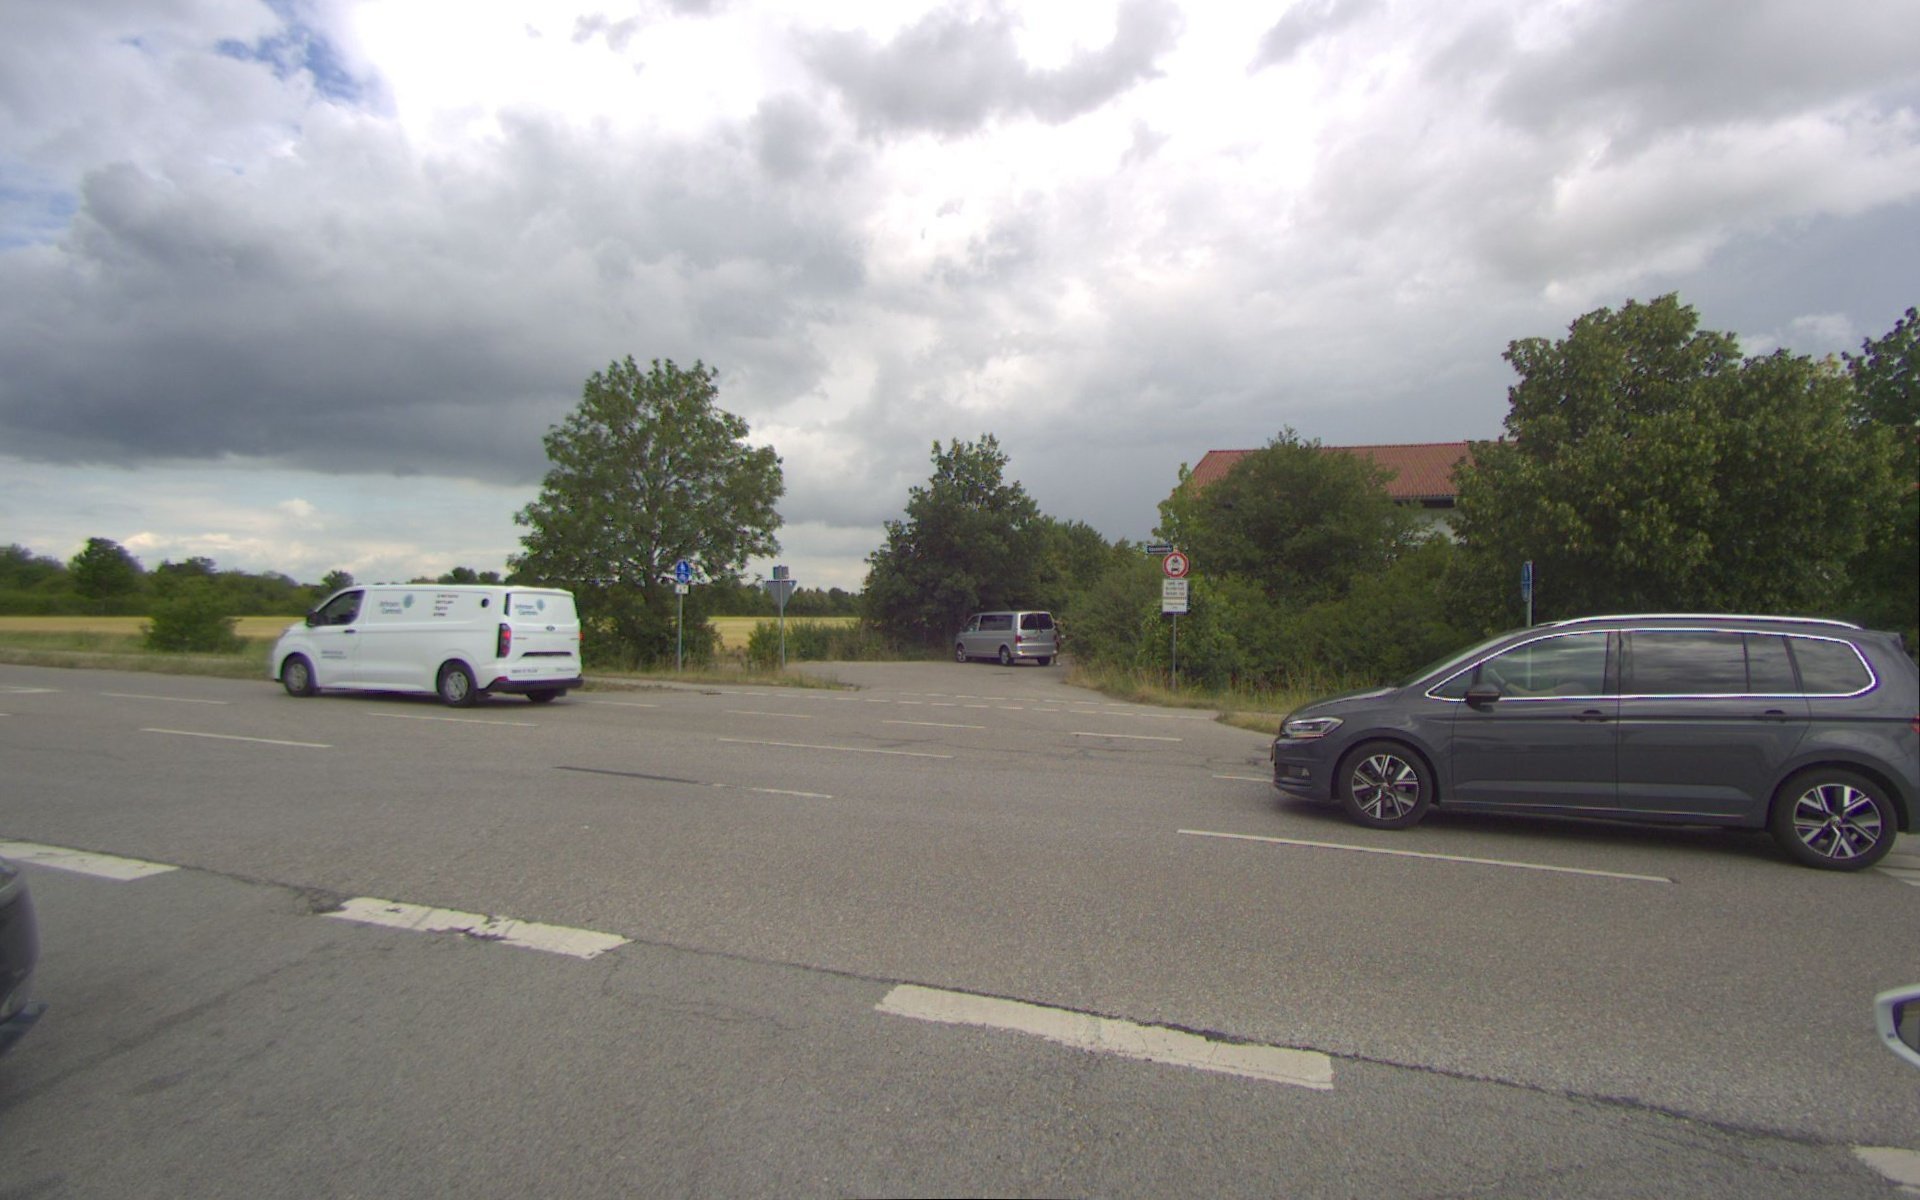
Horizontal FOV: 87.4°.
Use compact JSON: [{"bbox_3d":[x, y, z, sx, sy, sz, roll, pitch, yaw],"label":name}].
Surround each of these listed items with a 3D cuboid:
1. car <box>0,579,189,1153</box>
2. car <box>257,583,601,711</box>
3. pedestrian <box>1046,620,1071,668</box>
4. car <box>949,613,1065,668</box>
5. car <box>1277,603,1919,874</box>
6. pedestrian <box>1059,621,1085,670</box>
[{"bbox_3d":[-3.637,0.637,1.209,1.684,1.466,4.119,2,0,14],"label":"car"},{"bbox_3d":[-8.959,0.720,16.971,5.284,1.911,2.113,0,-1,20],"label":"car"},{"bbox_3d":[3.642,1.625,37.201,0.690,1.746,0.732,0,-1,28],"label":"pedestrian"},{"bbox_3d":[1.690,1.461,38.077,2.087,1.911,5.063,0,-1,-28],"label":"car"},{"bbox_3d":[4.695,0.910,7.771,4.206,1.680,1.754,0,-2,20],"label":"car"},{"bbox_3d":[4.034,1.637,36.230,0.712,1.746,0.791,0,-1,24],"label":"pedestrian"}]
